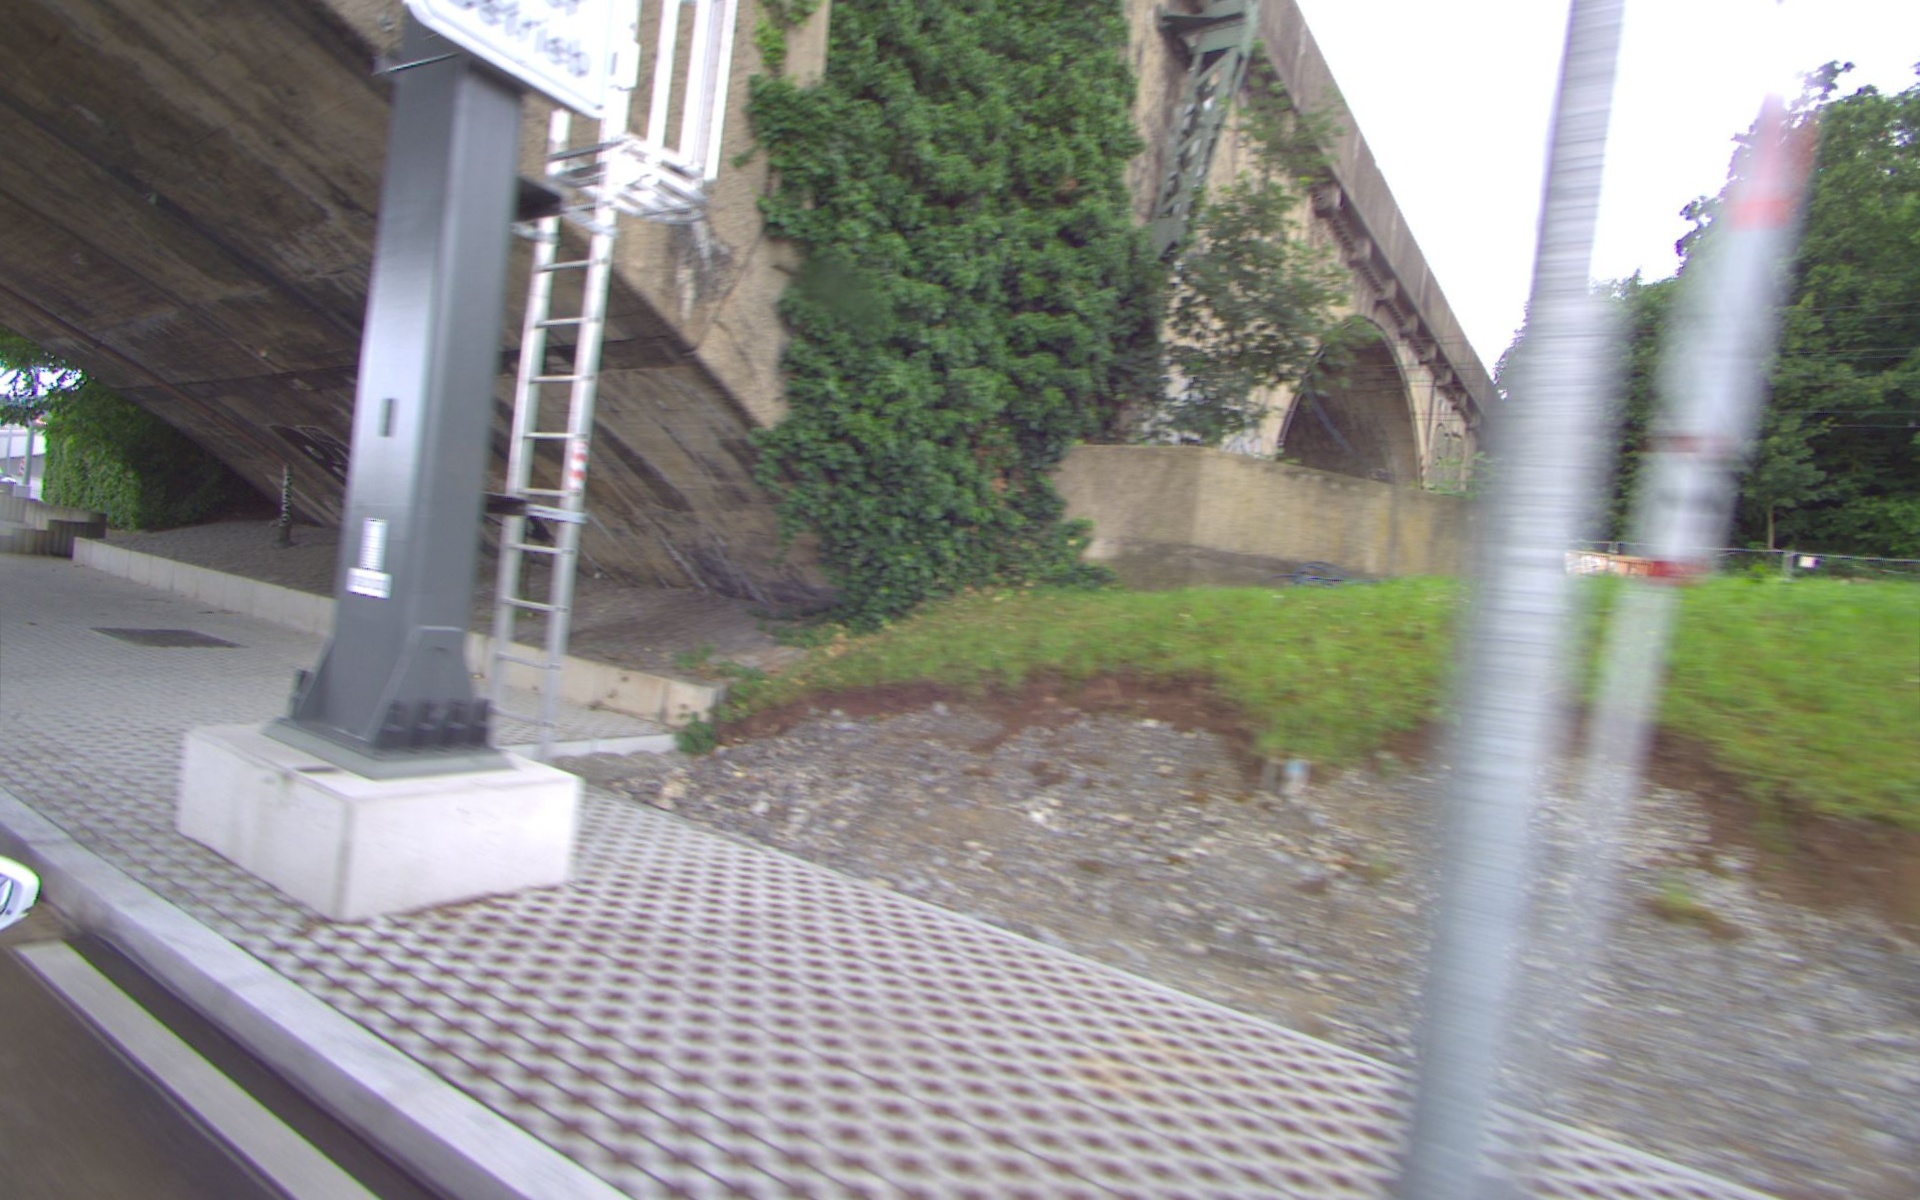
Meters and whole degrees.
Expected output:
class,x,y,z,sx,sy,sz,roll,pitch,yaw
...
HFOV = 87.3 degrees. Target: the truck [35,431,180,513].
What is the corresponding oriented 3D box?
class,x,y,z,sx,sy,sz,roll,pitch,yaw
truck,-55.111,-8.017,65.689,3.291,3.854,16.472,9,-1,-28
